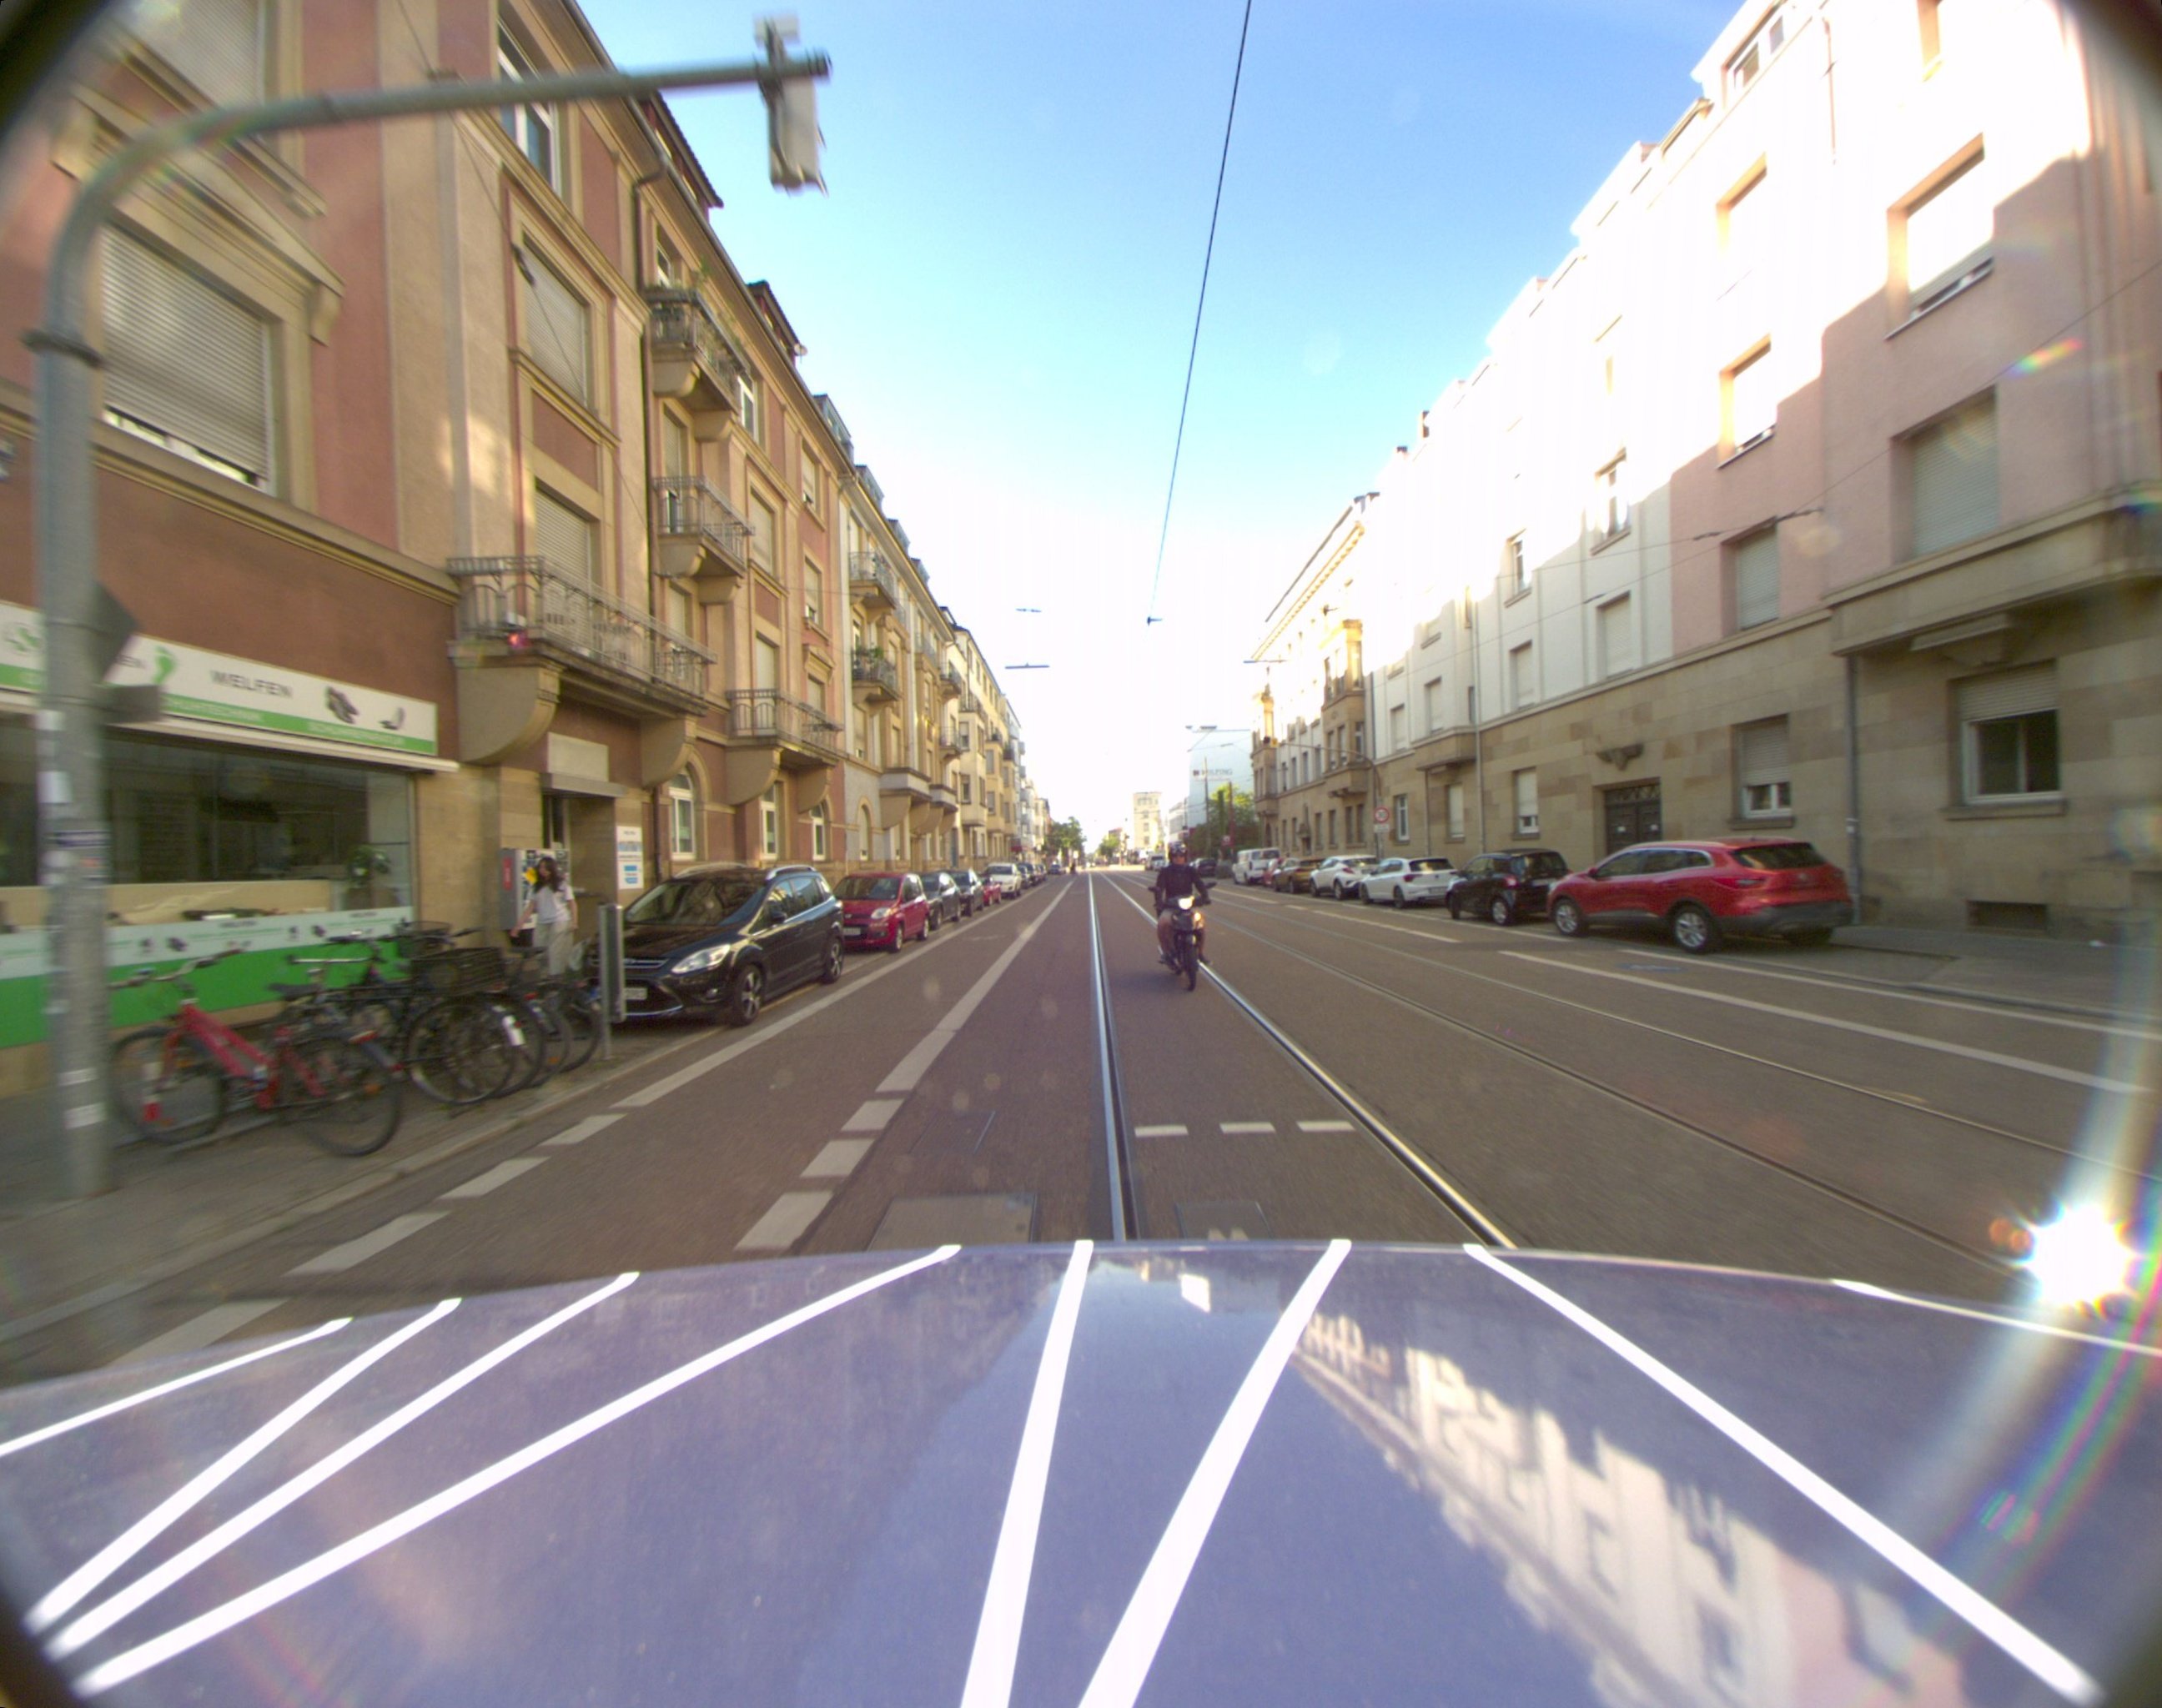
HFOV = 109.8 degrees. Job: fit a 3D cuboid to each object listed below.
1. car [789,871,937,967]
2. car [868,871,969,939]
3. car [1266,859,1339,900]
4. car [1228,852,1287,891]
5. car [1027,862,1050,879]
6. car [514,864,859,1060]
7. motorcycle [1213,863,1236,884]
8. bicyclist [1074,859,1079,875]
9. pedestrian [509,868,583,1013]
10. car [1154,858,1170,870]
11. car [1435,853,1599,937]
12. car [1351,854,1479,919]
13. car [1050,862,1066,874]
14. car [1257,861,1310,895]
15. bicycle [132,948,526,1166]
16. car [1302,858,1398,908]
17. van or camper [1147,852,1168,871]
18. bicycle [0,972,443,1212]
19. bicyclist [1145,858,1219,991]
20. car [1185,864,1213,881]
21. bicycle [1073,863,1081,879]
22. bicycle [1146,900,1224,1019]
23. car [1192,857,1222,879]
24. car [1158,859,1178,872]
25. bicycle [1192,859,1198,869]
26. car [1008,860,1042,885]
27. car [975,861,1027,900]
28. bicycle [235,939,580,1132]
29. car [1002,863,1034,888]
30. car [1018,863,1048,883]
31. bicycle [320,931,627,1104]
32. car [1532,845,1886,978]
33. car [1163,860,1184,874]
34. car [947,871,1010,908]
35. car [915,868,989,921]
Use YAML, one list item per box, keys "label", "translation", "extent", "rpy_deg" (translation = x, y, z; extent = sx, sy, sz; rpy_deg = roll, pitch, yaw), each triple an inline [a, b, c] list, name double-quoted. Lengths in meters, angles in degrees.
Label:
- label: "car"
  translation: [-4.246, 1.208, 15.407]
  extent: [1.757, 1.585, 3.730]
  rpy_deg: [-2, 0, 2]
- label: "car"
  translation: [-4.237, 1.272, 20.543]
  extent: [1.658, 1.504, 4.474]
  rpy_deg: [-2, 0, 1]
- label: "car"
  translation: [9.476, 1.047, 32.907]
  extent: [1.788, 1.514, 4.360]
  rpy_deg: [-4, 0, 0]
- label: "car"
  translation: [9.811, 0.964, 42.788]
  extent: [1.978, 1.937, 5.252]
  rpy_deg: [-4, 0, 0]
- label: "car"
  translation: [-3.795, 1.463, 68.561]
  extent: [1.722, 1.482, 4.002]
  rpy_deg: [-1, 0, 1]
- label: "car"
  translation: [-4.313, 1.028, 9.275]
  extent: [1.757, 1.725, 4.507]
  rpy_deg: [1, 0, 1]
- label: "motorcycle"
  translation: [10.332, 1.397, 54.492]
  extent: [0.884, 1.343, 1.961]
  rpy_deg: [-3, 0, 33]
- label: "bicyclist"
  translation: [-0.467, 1.437, 84.806]
  extent: [0.509, 1.692, 0.845]
  rpy_deg: [-2, 0, 0]
- label: "pedestrian"
  translation: [-6.419, 1.016, 9.132]
  extent: [0.514, 1.677, 0.448]
  rpy_deg: [-2, 0, 0]
- label: "car"
  translation: [10.648, 1.298, 100.133]
  extent: [1.787, 1.390, 4.446]
  rpy_deg: [-4, 0, 2]
- label: "car"
  translation: [9.358, 0.827, 16.598]
  extent: [1.787, 1.543, 3.019]
  rpy_deg: [-4, 0, 1]
- label: "car"
  translation: [9.655, 0.891, 22.370]
  extent: [1.788, 1.612, 4.179]
  rpy_deg: [-4, 0, -1]
- label: "car"
  translation: [-2.896, 1.809, 97.039]
  extent: [1.714, 1.399, 4.359]
  rpy_deg: [1, 0, 2]
- label: "car"
  translation: [9.966, 1.137, 37.587]
  extent: [1.606, 1.464, 3.646]
  rpy_deg: [-4, 0, 1]
- label: "bicycle"
  translation: [-4.671, 1.246, 4.785]
  extent: [1.964, 1.220, 0.527]
  rpy_deg: [-1, 0, 1]
- label: "car"
  translation: [9.608, 0.986, 27.501]
  extent: [1.776, 1.538, 4.365]
  rpy_deg: [-4, 0, -1]
- label: "van or camper"
  translation: [10.706, 0.994, 107.201]
  extent: [2.177, 2.452, 6.232]
  rpy_deg: [-4, 0, 0]
- label: "bicycle"
  translation: [-4.716, 1.279, 4.206]
  extent: [1.928, 1.154, 0.527]
  rpy_deg: [-1, 0, 1]
- label: "bicyclist"
  translation: [1.215, 0.823, 9.289]
  extent: [0.774, 1.531, 0.939]
  rpy_deg: [-2, 0, 3]
- label: "car"
  translation: [10.271, 1.604, 66.454]
  extent: [1.787, 1.306, 4.221]
  rpy_deg: [-4, 0, 1]
- label: "bicycle"
  translation: [-0.472, 1.915, 84.756]
  extent: [0.775, 1.700, 1.937]
  rpy_deg: [-3, 0, 0]
- label: "bicycle"
  translation: [1.222, 1.223, 9.287]
  extent: [0.767, 1.191, 1.753]
  rpy_deg: [-2, 0, 3]
- label: "car"
  translation: [10.043, 1.119, 61.016]
  extent: [1.787, 1.556, 4.611]
  rpy_deg: [-4, 0, 3]
- label: "car"
  translation: [10.400, 1.349, 91.097]
  extent: [1.788, 1.472, 4.700]
  rpy_deg: [-4, 0, 0]
- label: "bicycle"
  translation: [13.335, 1.200, 88.952]
  extent: [0.440, 1.168, 2.050]
  rpy_deg: [-3, 0, 2]
- label: "car"
  translation: [-3.912, 1.262, 53.775]
  extent: [1.863, 1.656, 4.562]
  rpy_deg: [-2, 0, 2]
- label: "car"
  translation: [-3.772, 1.217, 36.442]
  extent: [1.847, 1.681, 4.505]
  rpy_deg: [-2, 0, 1]
- label: "bicycle"
  translation: [-4.682, 1.246, 5.346]
  extent: [1.964, 1.220, 0.527]
  rpy_deg: [-1, 0, 1]
- label: "car"
  translation: [-3.942, 1.336, 47.923]
  extent: [1.742, 1.433, 4.032]
  rpy_deg: [-2, 0, -1]
- label: "car"
  translation: [-3.745, 1.485, 59.961]
  extent: [1.863, 1.447, 4.710]
  rpy_deg: [-2, 0, 2]
- label: "bicycle"
  translation: [-4.679, 1.247, 5.918]
  extent: [1.964, 1.220, 0.527]
  rpy_deg: [-1, 0, 1]
- label: "car"
  translation: [9.388, 0.753, 11.967]
  extent: [1.788, 1.597, 4.397]
  rpy_deg: [-4, 0, -1]
- label: "car"
  translation: [10.386, 1.413, 85.311]
  extent: [1.787, 1.437, 4.842]
  rpy_deg: [-4, 0, 1]
- label: "car"
  translation: [-4.061, 1.397, 30.881]
  extent: [1.658, 1.241, 4.506]
  rpy_deg: [-2, 0, 3]
- label: "car"
  translation: [-4.196, 1.271, 25.360]
  extent: [1.658, 1.474, 4.474]
  rpy_deg: [-2, 0, 0]
